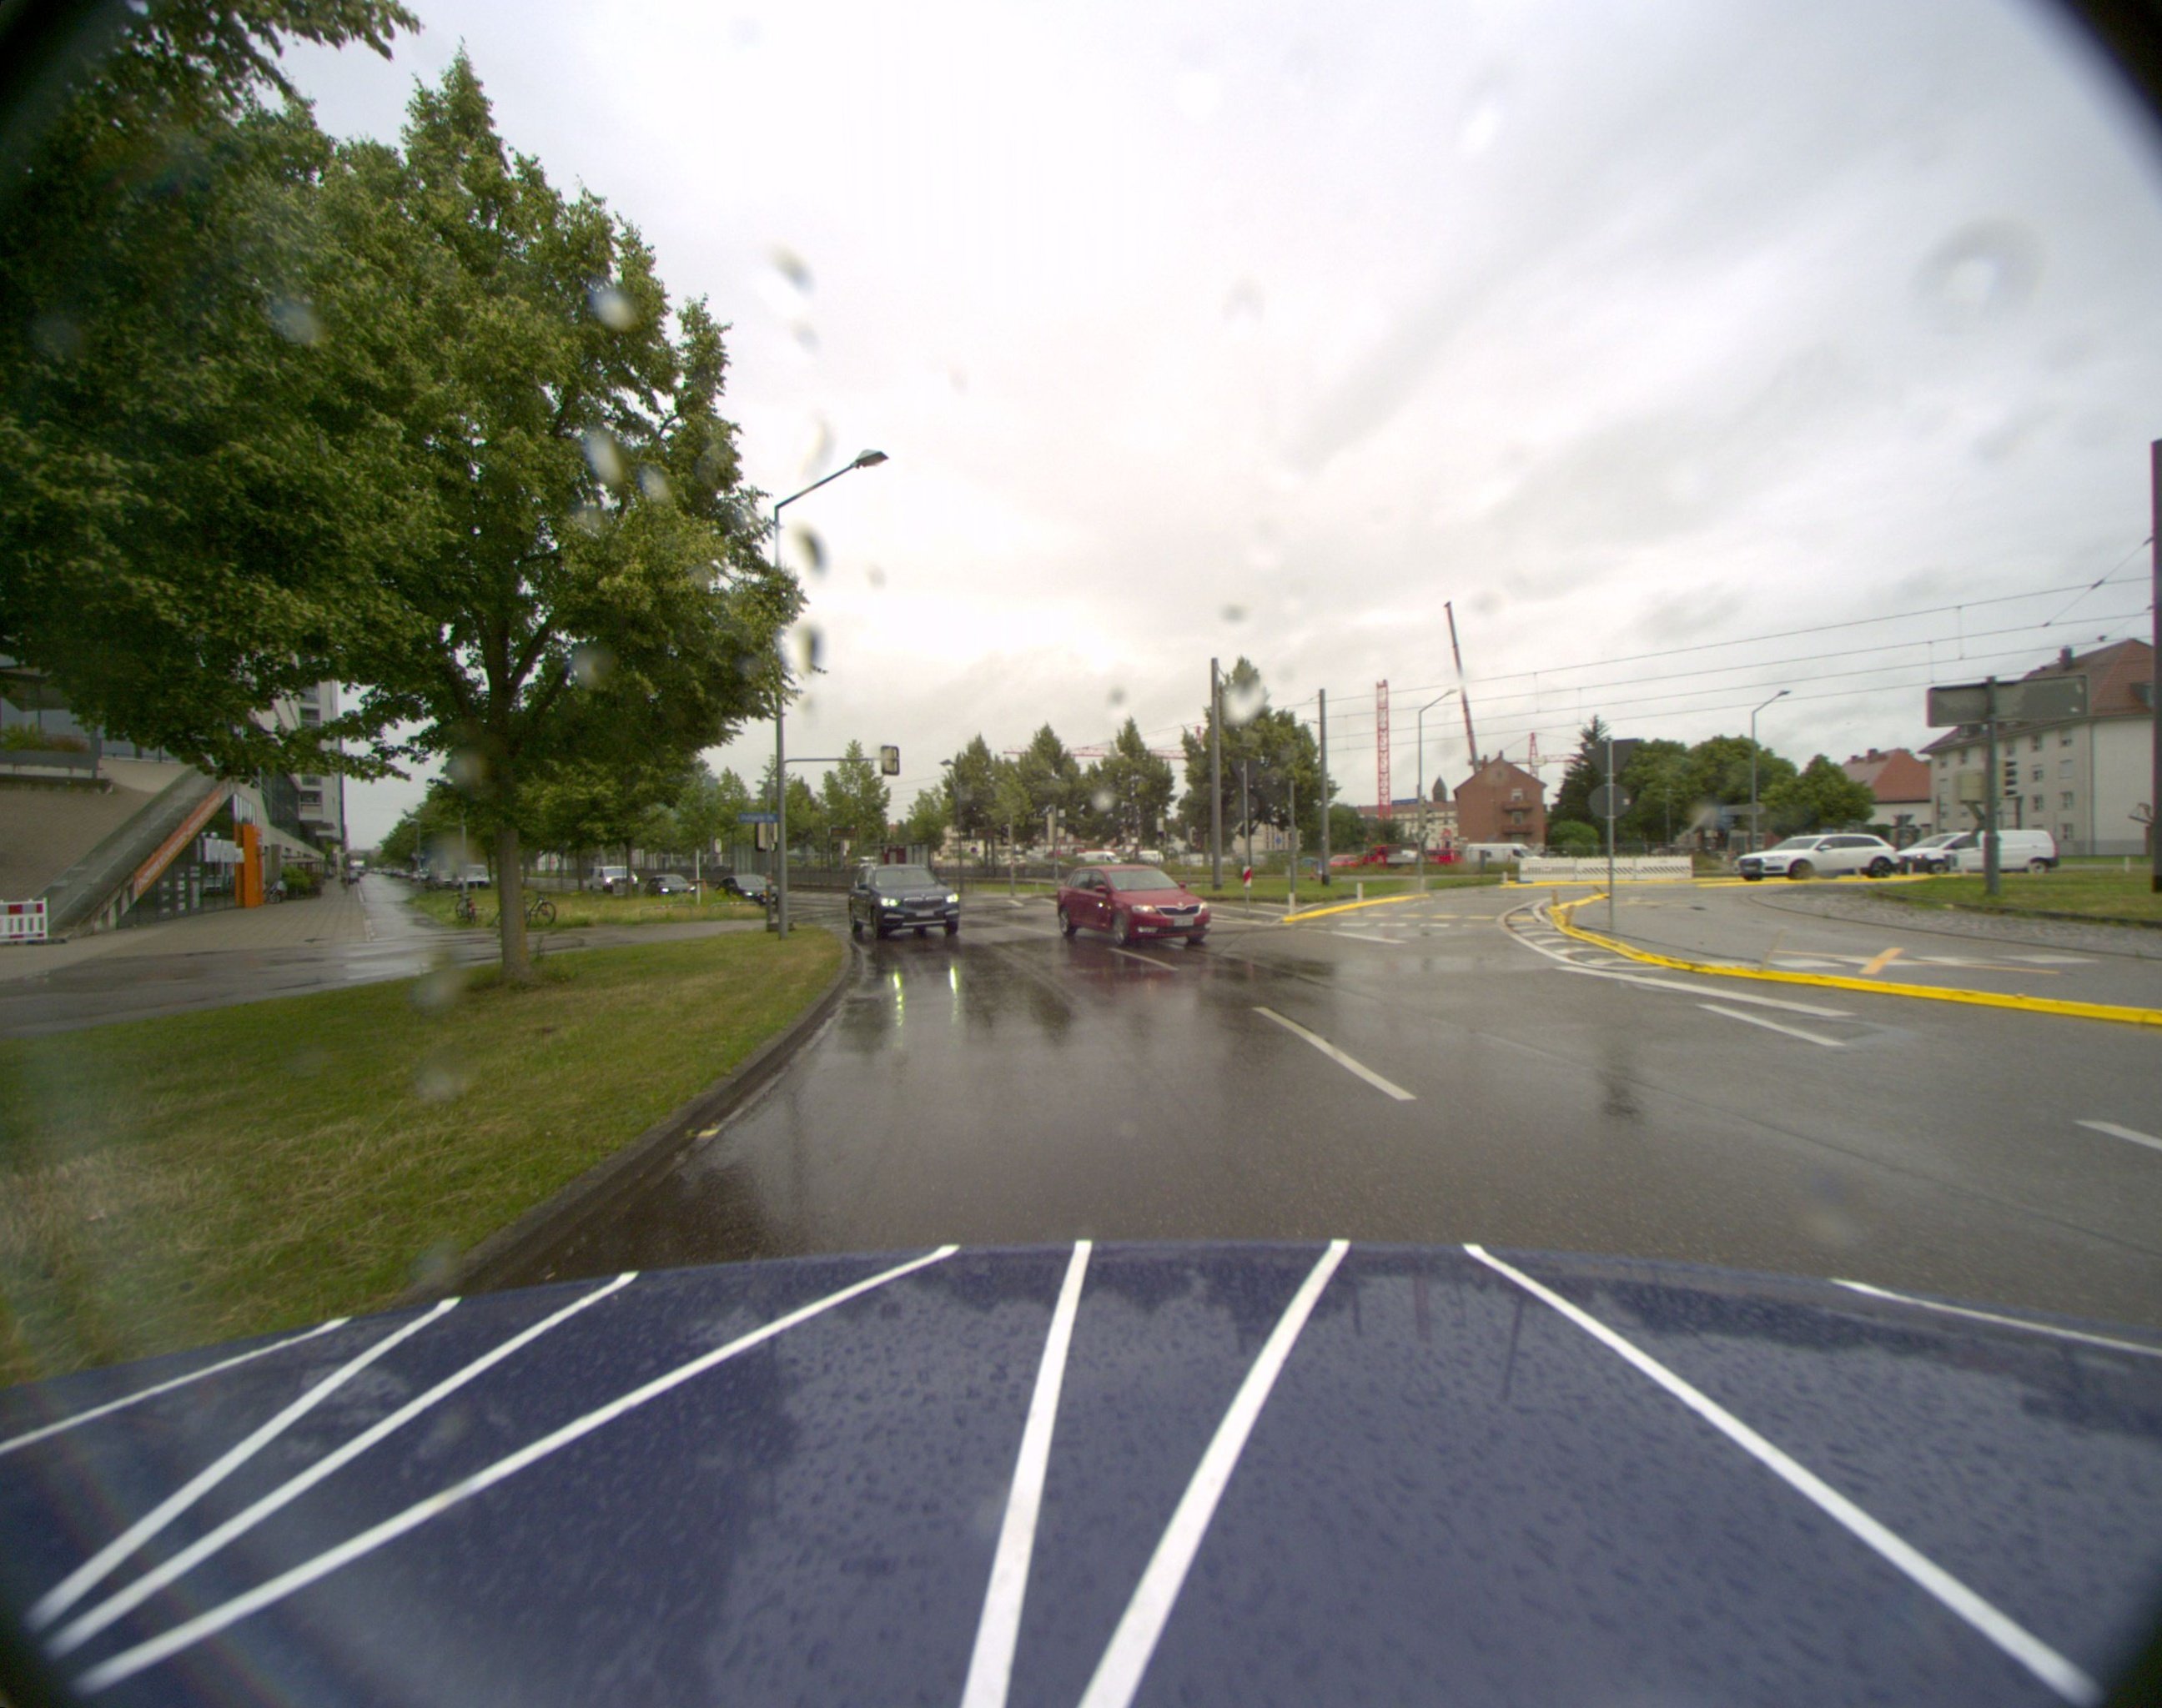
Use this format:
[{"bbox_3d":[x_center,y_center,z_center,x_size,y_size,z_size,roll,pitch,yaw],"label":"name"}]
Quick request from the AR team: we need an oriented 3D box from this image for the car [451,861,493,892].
[{"bbox_3d":[-47.923,1.723,59.730,2.089,2.189,5.083,-5,3,-42],"label":"car"}]

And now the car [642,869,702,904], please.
[{"bbox_3d":[-21.817,1.685,40.507,1.792,1.638,3.989,-5,3,-42],"label":"car"}]

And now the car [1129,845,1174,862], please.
[{"bbox_3d":[10.914,-0.118,118.787,6.817,2.463,2.506,-1,3,44],"label":"car"}]

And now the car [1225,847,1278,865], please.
[{"bbox_3d":[23.825,0.293,106.354,6.817,2.462,2.361,-1,0,34],"label":"car"}]

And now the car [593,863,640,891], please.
[{"bbox_3d":[-30.464,1.476,49.784,1.792,1.638,3.989,-5,3,-42],"label":"car"}]

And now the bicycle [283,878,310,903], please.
[{"bbox_3d":[-46.240,2.128,44.810,0.884,1.340,2.689,-5,3,-42],"label":"bicycle"}]

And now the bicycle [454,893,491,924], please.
[{"bbox_3d":[-18.504,1.629,23.088,0.638,0.842,2.158,-2,0,-45],"label":"bicycle"}]

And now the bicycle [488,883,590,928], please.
[{"bbox_3d":[-15.775,1.485,22.138,2.523,1.182,0.553,-2,0,-1],"label":"bicycle"}]

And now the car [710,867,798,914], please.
[{"bbox_3d":[-14.054,1.496,32.536,1.921,1.737,4.370,-5,3,-44],"label":"car"}]

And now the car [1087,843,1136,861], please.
[{"bbox_3d":[4.543,-0.257,115.469,7.617,2.463,2.361,-1,3,44],"label":"car"}]

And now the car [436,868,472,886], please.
[{"bbox_3d":[-59.279,2.131,71.801,3.989,1.543,2.003,-1,3,43],"label":"car"}]

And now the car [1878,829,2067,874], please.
[{"bbox_3d":[37.414,-0.095,32.033,5.016,1.634,1.832,-2,2,15],"label":"car"}]

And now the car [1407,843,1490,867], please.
[{"bbox_3d":[33.186,0.097,68.854,2.361,2.002,6.412,-1,0,-32],"label":"car"}]

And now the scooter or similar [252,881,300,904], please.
[{"bbox_3d":[-44.105,2.087,41.667,0.813,1.093,2.609,-4,2,-25],"label":"scooter or similar"}]

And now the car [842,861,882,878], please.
[{"bbox_3d":[-21.407,1.476,74.303,4.214,1.478,1.855,-1,3,45],"label":"car"}]

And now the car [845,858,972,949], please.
[{"bbox_3d":[-4.252,1.044,18.169,1.920,1.737,4.373,-4,2,-26],"label":"car"}]

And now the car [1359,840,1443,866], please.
[{"bbox_3d":[27.364,-0.091,65.157,2.360,2.002,6.411,-4,2,-32],"label":"car"}]

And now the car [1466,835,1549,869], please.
[{"bbox_3d":[39.967,-0.214,71.353,2.360,2.923,6.411,-4,2,-32],"label":"car"}]

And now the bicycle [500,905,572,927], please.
[{"bbox_3d":[-15.661,1.782,21.850,1.802,0.555,0.321,-2,0,-1],"label":"bicycle"}]

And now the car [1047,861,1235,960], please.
[{"bbox_3d":[0.959,0.948,14.741,1.791,1.451,4.306,-4,2,-23],"label":"car"}]
